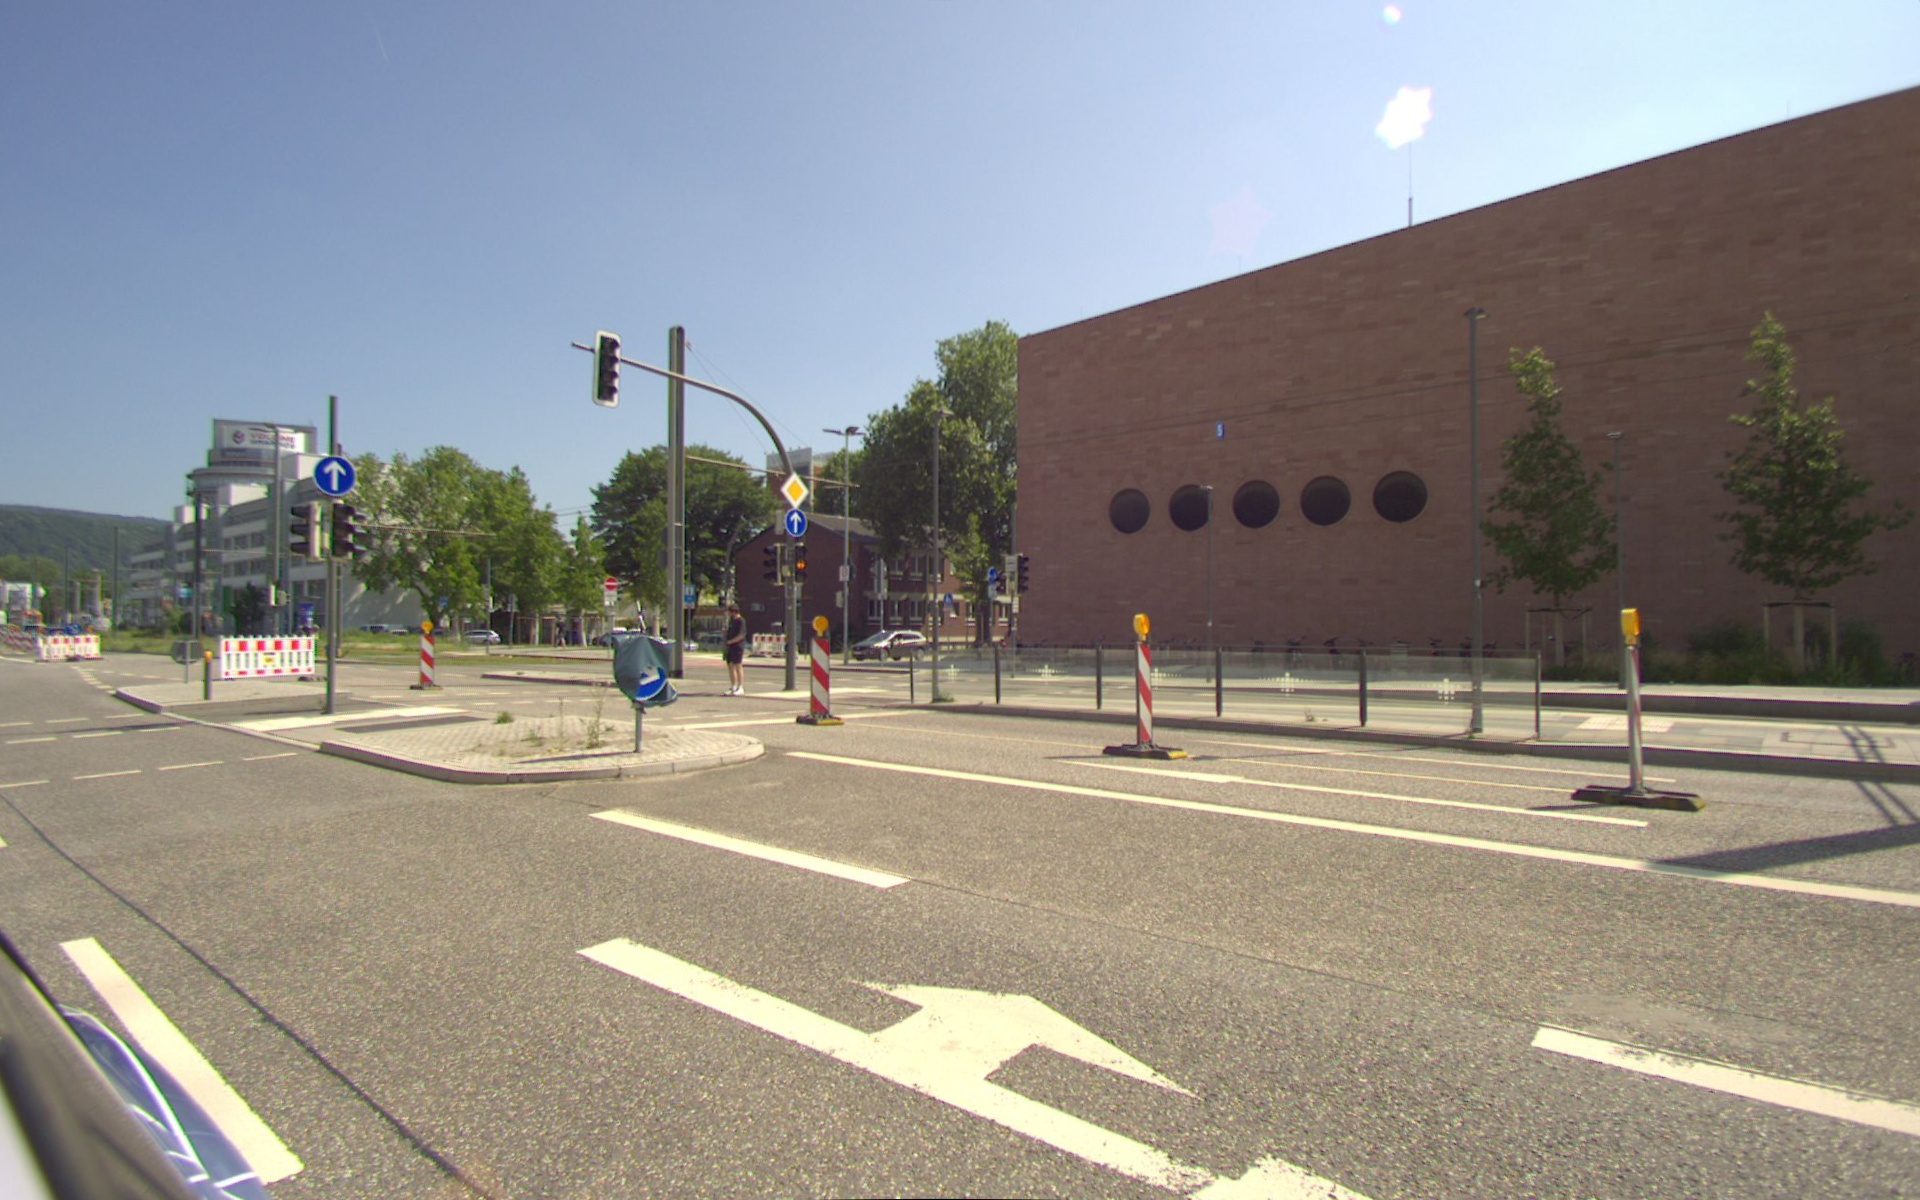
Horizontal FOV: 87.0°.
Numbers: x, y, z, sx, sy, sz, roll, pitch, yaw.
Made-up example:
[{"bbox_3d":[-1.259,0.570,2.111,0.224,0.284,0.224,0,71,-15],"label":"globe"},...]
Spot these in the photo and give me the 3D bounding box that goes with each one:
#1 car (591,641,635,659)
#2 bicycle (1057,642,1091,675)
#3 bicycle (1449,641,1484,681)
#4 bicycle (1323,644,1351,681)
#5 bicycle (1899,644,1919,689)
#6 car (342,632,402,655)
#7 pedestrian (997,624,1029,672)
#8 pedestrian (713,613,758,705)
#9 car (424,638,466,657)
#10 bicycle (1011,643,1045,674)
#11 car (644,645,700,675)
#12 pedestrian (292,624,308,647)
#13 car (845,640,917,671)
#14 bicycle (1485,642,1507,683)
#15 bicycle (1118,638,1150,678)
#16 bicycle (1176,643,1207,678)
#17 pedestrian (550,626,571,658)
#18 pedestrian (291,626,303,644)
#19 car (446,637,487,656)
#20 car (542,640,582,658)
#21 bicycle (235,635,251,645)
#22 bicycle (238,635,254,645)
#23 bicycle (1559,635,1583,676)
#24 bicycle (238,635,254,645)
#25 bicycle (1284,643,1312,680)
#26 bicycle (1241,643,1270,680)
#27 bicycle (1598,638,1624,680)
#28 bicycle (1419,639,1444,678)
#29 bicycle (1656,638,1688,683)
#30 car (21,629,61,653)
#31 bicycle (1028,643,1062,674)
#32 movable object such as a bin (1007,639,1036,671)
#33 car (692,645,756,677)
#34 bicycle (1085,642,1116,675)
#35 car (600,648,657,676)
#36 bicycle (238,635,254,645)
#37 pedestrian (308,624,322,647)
[{"bbox_3d":[-28.307,4.063,82.512,4.265,1.468,1.522,-2,-3,41],"label":"car"},{"bbox_3d":[4.475,2.291,39.721,0.537,1.221,2.036,-2,-2,30],"label":"bicycle"},{"bbox_3d":[16.405,1.949,32.761,0.745,1.221,1.868,-1,-2,34],"label":"bicycle"},{"bbox_3d":[13.034,2.136,34.950,0.537,1.221,2.036,-2,-2,30],"label":"bicycle"},{"bbox_3d":[26.046,1.788,27.338,0.594,1.161,2.223,-2,-3,33],"label":"bicycle"},{"bbox_3d":[-59.800,4.417,103.025,4.988,2.196,2.121,1,-2,-22],"label":"car"},{"bbox_3d":[1.753,1.578,33.353,0.789,1.574,0.925,-1,-2,24],"label":"pedestrian"},{"bbox_3d":[-4.621,1.193,20.846,0.645,1.847,0.661,0,-2,-45],"label":"pedestrian"},{"bbox_3d":[-44.329,4.077,87.149,3.630,1.603,1.752,-2,-1,36],"label":"car"},{"bbox_3d":[2.761,2.361,40.994,0.537,1.221,2.036,-1,-2,30],"label":"bicycle"},{"bbox_3d":[-18.922,3.920,66.452,3.938,1.774,1.680,0,-1,42],"label":"car"},{"bbox_3d":[-56.975,3.059,87.345,0.910,2.029,0.972,-2,-1,43],"label":"pedestrian"},{"bbox_3d":[-3.851,2.700,49.512,1.572,1.380,3.443,-2,-2,40],"label":"car"},{"bbox_3d":[17.086,1.963,32.234,0.537,1.221,2.036,-2,-2,30],"label":"bicycle"},{"bbox_3d":[6.657,2.184,38.629,0.537,1.464,2.036,-2,-2,30],"label":"bicycle"},{"bbox_3d":[8.619,2.216,37.608,0.537,1.221,2.036,-2,-2,30],"label":"bicycle"},{"bbox_3d":[-23.763,2.477,60.139,0.802,1.861,1.108,1,-2,-43],"label":"pedestrian"},{"bbox_3d":[-59.946,3.193,91.509,0.805,1.588,0.827,2,-3,-44],"label":"pedestrian"},{"bbox_3d":[-43.734,4.121,89.697,3.630,1.603,1.752,-2,-1,36],"label":"car"},{"bbox_3d":[-36.739,4.511,93.388,3.630,1.603,1.752,-2,-1,36],"label":"car"},{"bbox_3d":[-93.688,5.200,132.265,1.627,1.198,0.522,-1,-1,-44],"label":"bicycle"},{"bbox_3d":[-91.335,5.160,129.502,0.438,1.198,1.629,-2,-1,41],"label":"bicycle"},{"bbox_3d":[18.944,1.706,31.403,0.537,1.221,2.036,-2,-2,30],"label":"bicycle"},{"bbox_3d":[-91.834,5.142,130.085,0.438,1.198,1.629,-2,-1,42],"label":"bicycle"},{"bbox_3d":[11.879,2.149,35.534,0.537,1.221,2.036,-2,-2,30],"label":"bicycle"},{"bbox_3d":[10.612,2.194,36.291,0.537,1.221,2.037,-1,-2,30],"label":"bicycle"},{"bbox_3d":[19.805,1.763,30.827,0.537,1.221,2.036,-1,-2,30],"label":"bicycle"},{"bbox_3d":[15.571,1.915,33.414,0.537,1.221,2.036,-2,-2,30],"label":"bicycle"},{"bbox_3d":[20.834,1.752,29.640,0.537,1.221,2.036,-2,-2,30],"label":"bicycle"},{"bbox_3d":[-63.087,2.800,69.453,4.290,1.438,1.610,0,-4,43],"label":"car"},{"bbox_3d":[3.424,2.329,40.604,0.537,1.221,2.036,-1,-2,30],"label":"bicycle"},{"bbox_3d":[2.065,1.856,34.112,0.789,1.039,0.709,-1,-2,24],"label":"movable object such as a bin"},{"bbox_3d":[-14.646,3.749,62.797,4.299,1.774,1.680,0,-1,41],"label":"car"},{"bbox_3d":[5.489,2.246,39.320,0.537,1.221,2.038,-2,-2,27],"label":"bicycle"},{"bbox_3d":[-23.016,4.261,70.180,4.529,1.774,1.680,0,-1,41],"label":"car"},{"bbox_3d":[-92.651,5.170,131.334,1.627,1.198,0.438,-1,-1,-44],"label":"bicycle"},{"bbox_3d":[-56.227,3.081,88.160,0.983,2.029,0.830,-2,-2,44],"label":"pedestrian"}]
